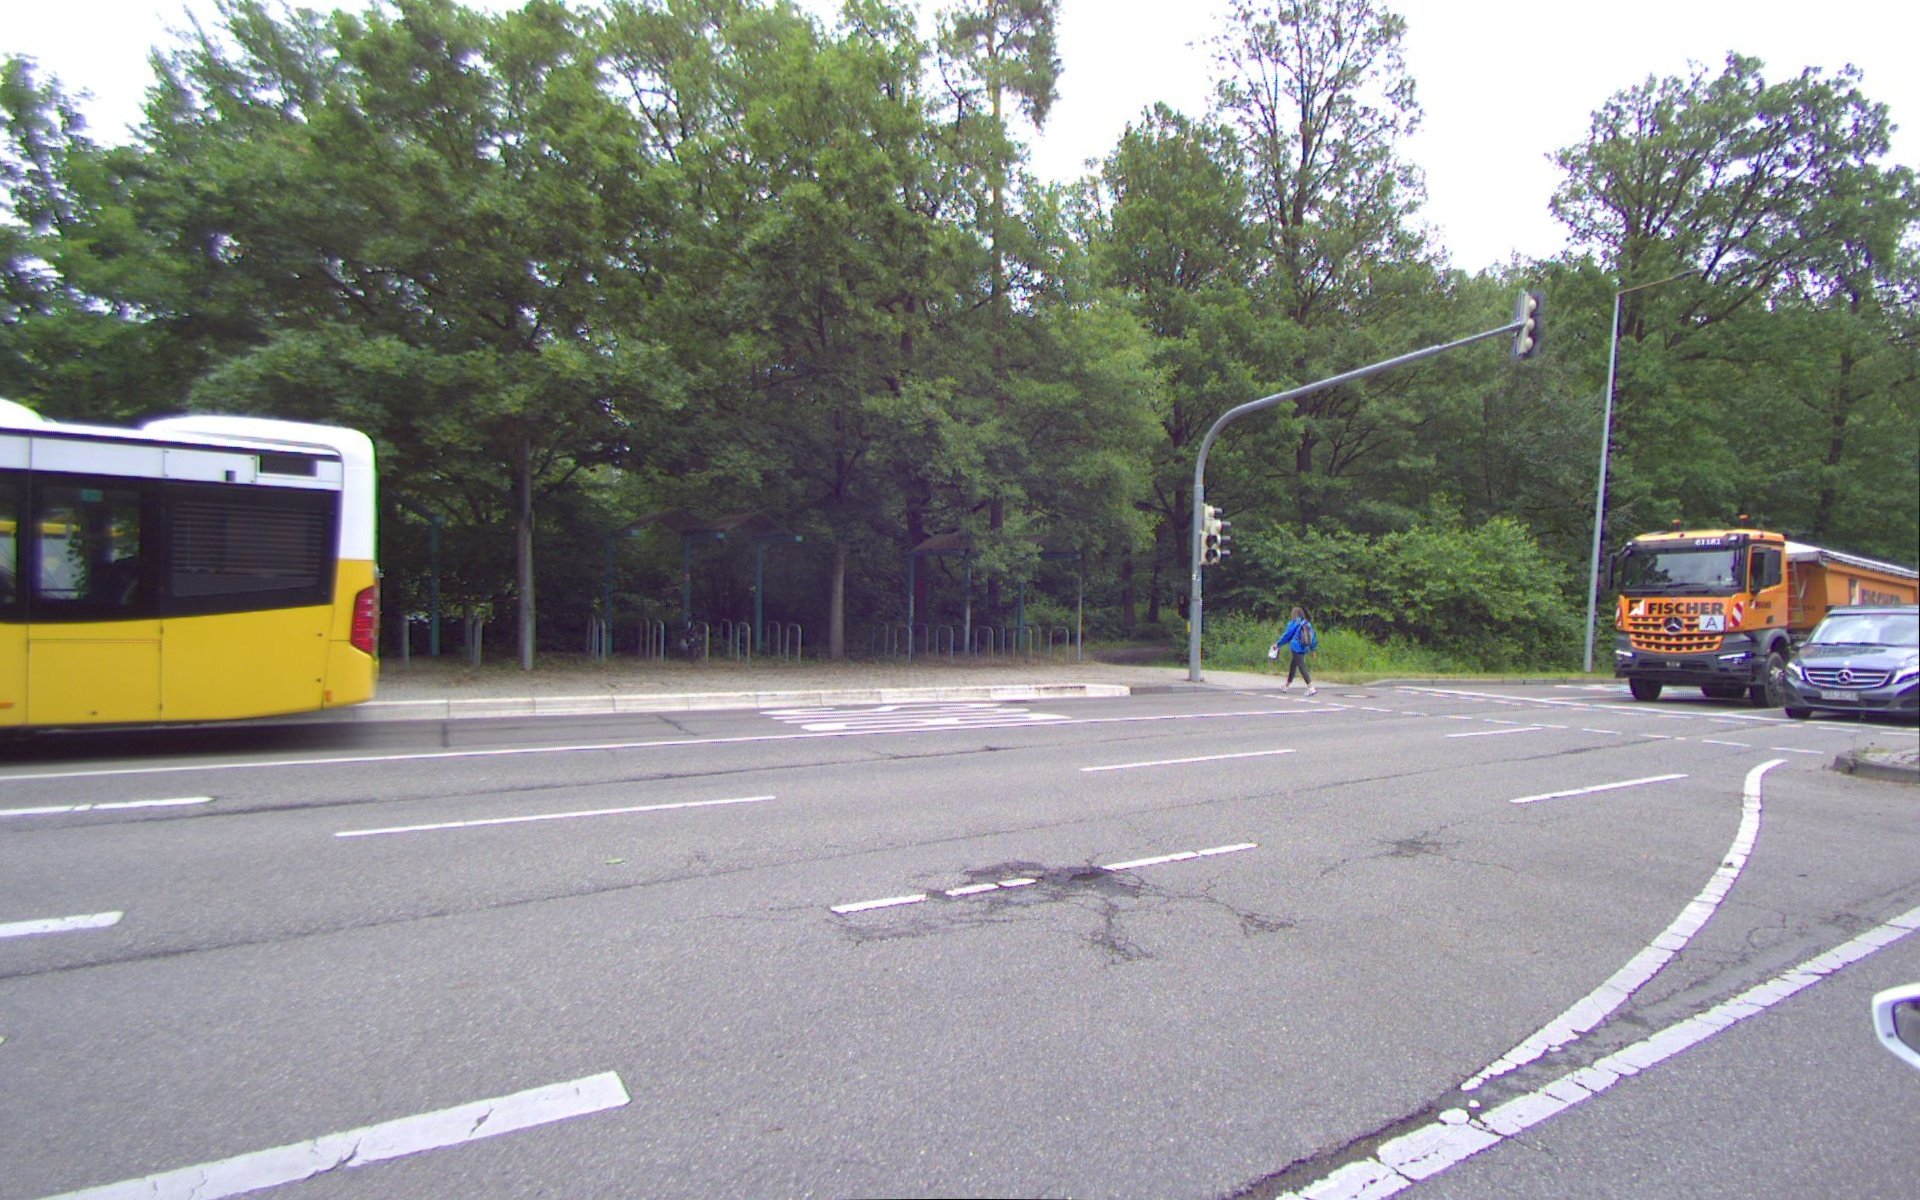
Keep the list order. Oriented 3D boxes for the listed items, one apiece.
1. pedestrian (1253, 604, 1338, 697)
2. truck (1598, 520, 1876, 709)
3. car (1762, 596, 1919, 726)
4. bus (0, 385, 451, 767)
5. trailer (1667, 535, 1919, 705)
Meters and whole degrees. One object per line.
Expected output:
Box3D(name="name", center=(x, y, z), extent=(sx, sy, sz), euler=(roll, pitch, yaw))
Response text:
Box3D(name="pedestrian", center=(6.385, 0.930, 19.147), extent=(1.055, 1.671, 1.043), euler=(0, 2, -27))
Box3D(name="truck", center=(16.436, 0.405, 21.065), extent=(7.090, 3.362, 2.720), euler=(3, -2, -36))
Box3D(name="car", center=(15.675, 0.994, 17.000), extent=(4.789, 1.918, 1.981), euler=(2, -2, -34))
Box3D(name="bus", center=(-9.517, -0.227, 9.090), extent=(8.592, 3.168, 2.885), euler=(1, 0, -30))
Box3D(name="trailer", center=(19.812, 0.568, 23.504), extent=(8.486, 3.362, 2.720), euler=(3, -2, -36))
